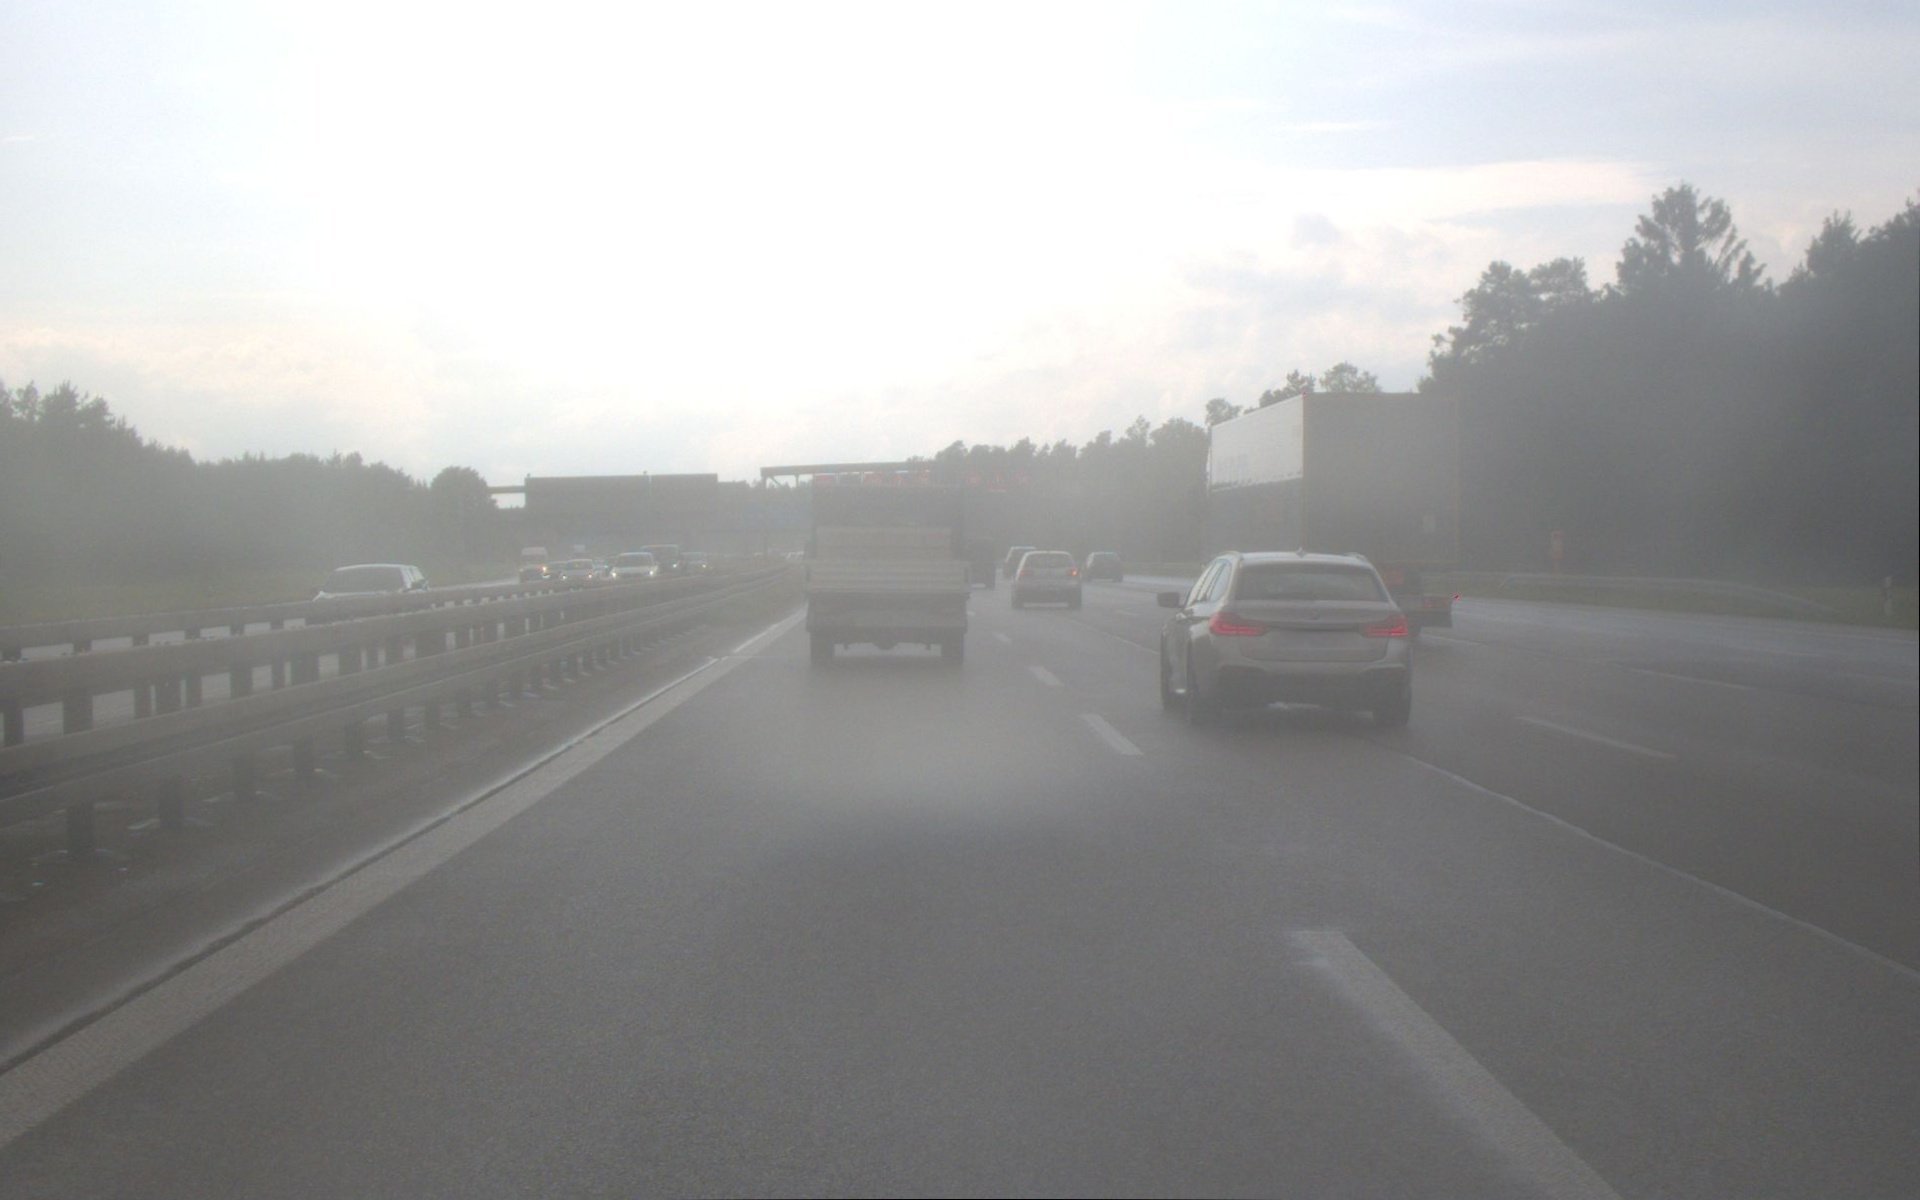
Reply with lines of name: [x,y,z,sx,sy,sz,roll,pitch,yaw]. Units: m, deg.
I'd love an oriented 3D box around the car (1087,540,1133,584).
car: [7.158,-1.838,164.706,1.993,2.007,4.000,1,1,0]

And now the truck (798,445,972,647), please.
truck: [-0.951,-0.717,45.081,2.137,2.480,5.313,0,1,-1]

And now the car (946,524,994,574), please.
car: [0.401,-2.073,139.006,1.908,2.007,4.000,0,1,0]

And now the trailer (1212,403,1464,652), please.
trailer: [6.548,-1.261,61.800,2.323,3.988,13.414,0,1,-3]

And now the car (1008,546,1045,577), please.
car: [3.596,-2.092,186.555,1.740,1.683,4.001,0,1,-3]

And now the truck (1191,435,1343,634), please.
truck: [6.118,-1.305,69.125,2.293,3.854,5.393,0,1,-3]

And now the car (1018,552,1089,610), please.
car: [2.449,-0.520,90.472,1.831,1.461,4.000,1,1,1]

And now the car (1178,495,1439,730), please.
car: [2.983,0.066,30.275,2.078,1.878,5.010,0,1,4]

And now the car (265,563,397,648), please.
car: [-11.313,0.075,62.073,1.728,1.384,4.093,-2,1,-2]
